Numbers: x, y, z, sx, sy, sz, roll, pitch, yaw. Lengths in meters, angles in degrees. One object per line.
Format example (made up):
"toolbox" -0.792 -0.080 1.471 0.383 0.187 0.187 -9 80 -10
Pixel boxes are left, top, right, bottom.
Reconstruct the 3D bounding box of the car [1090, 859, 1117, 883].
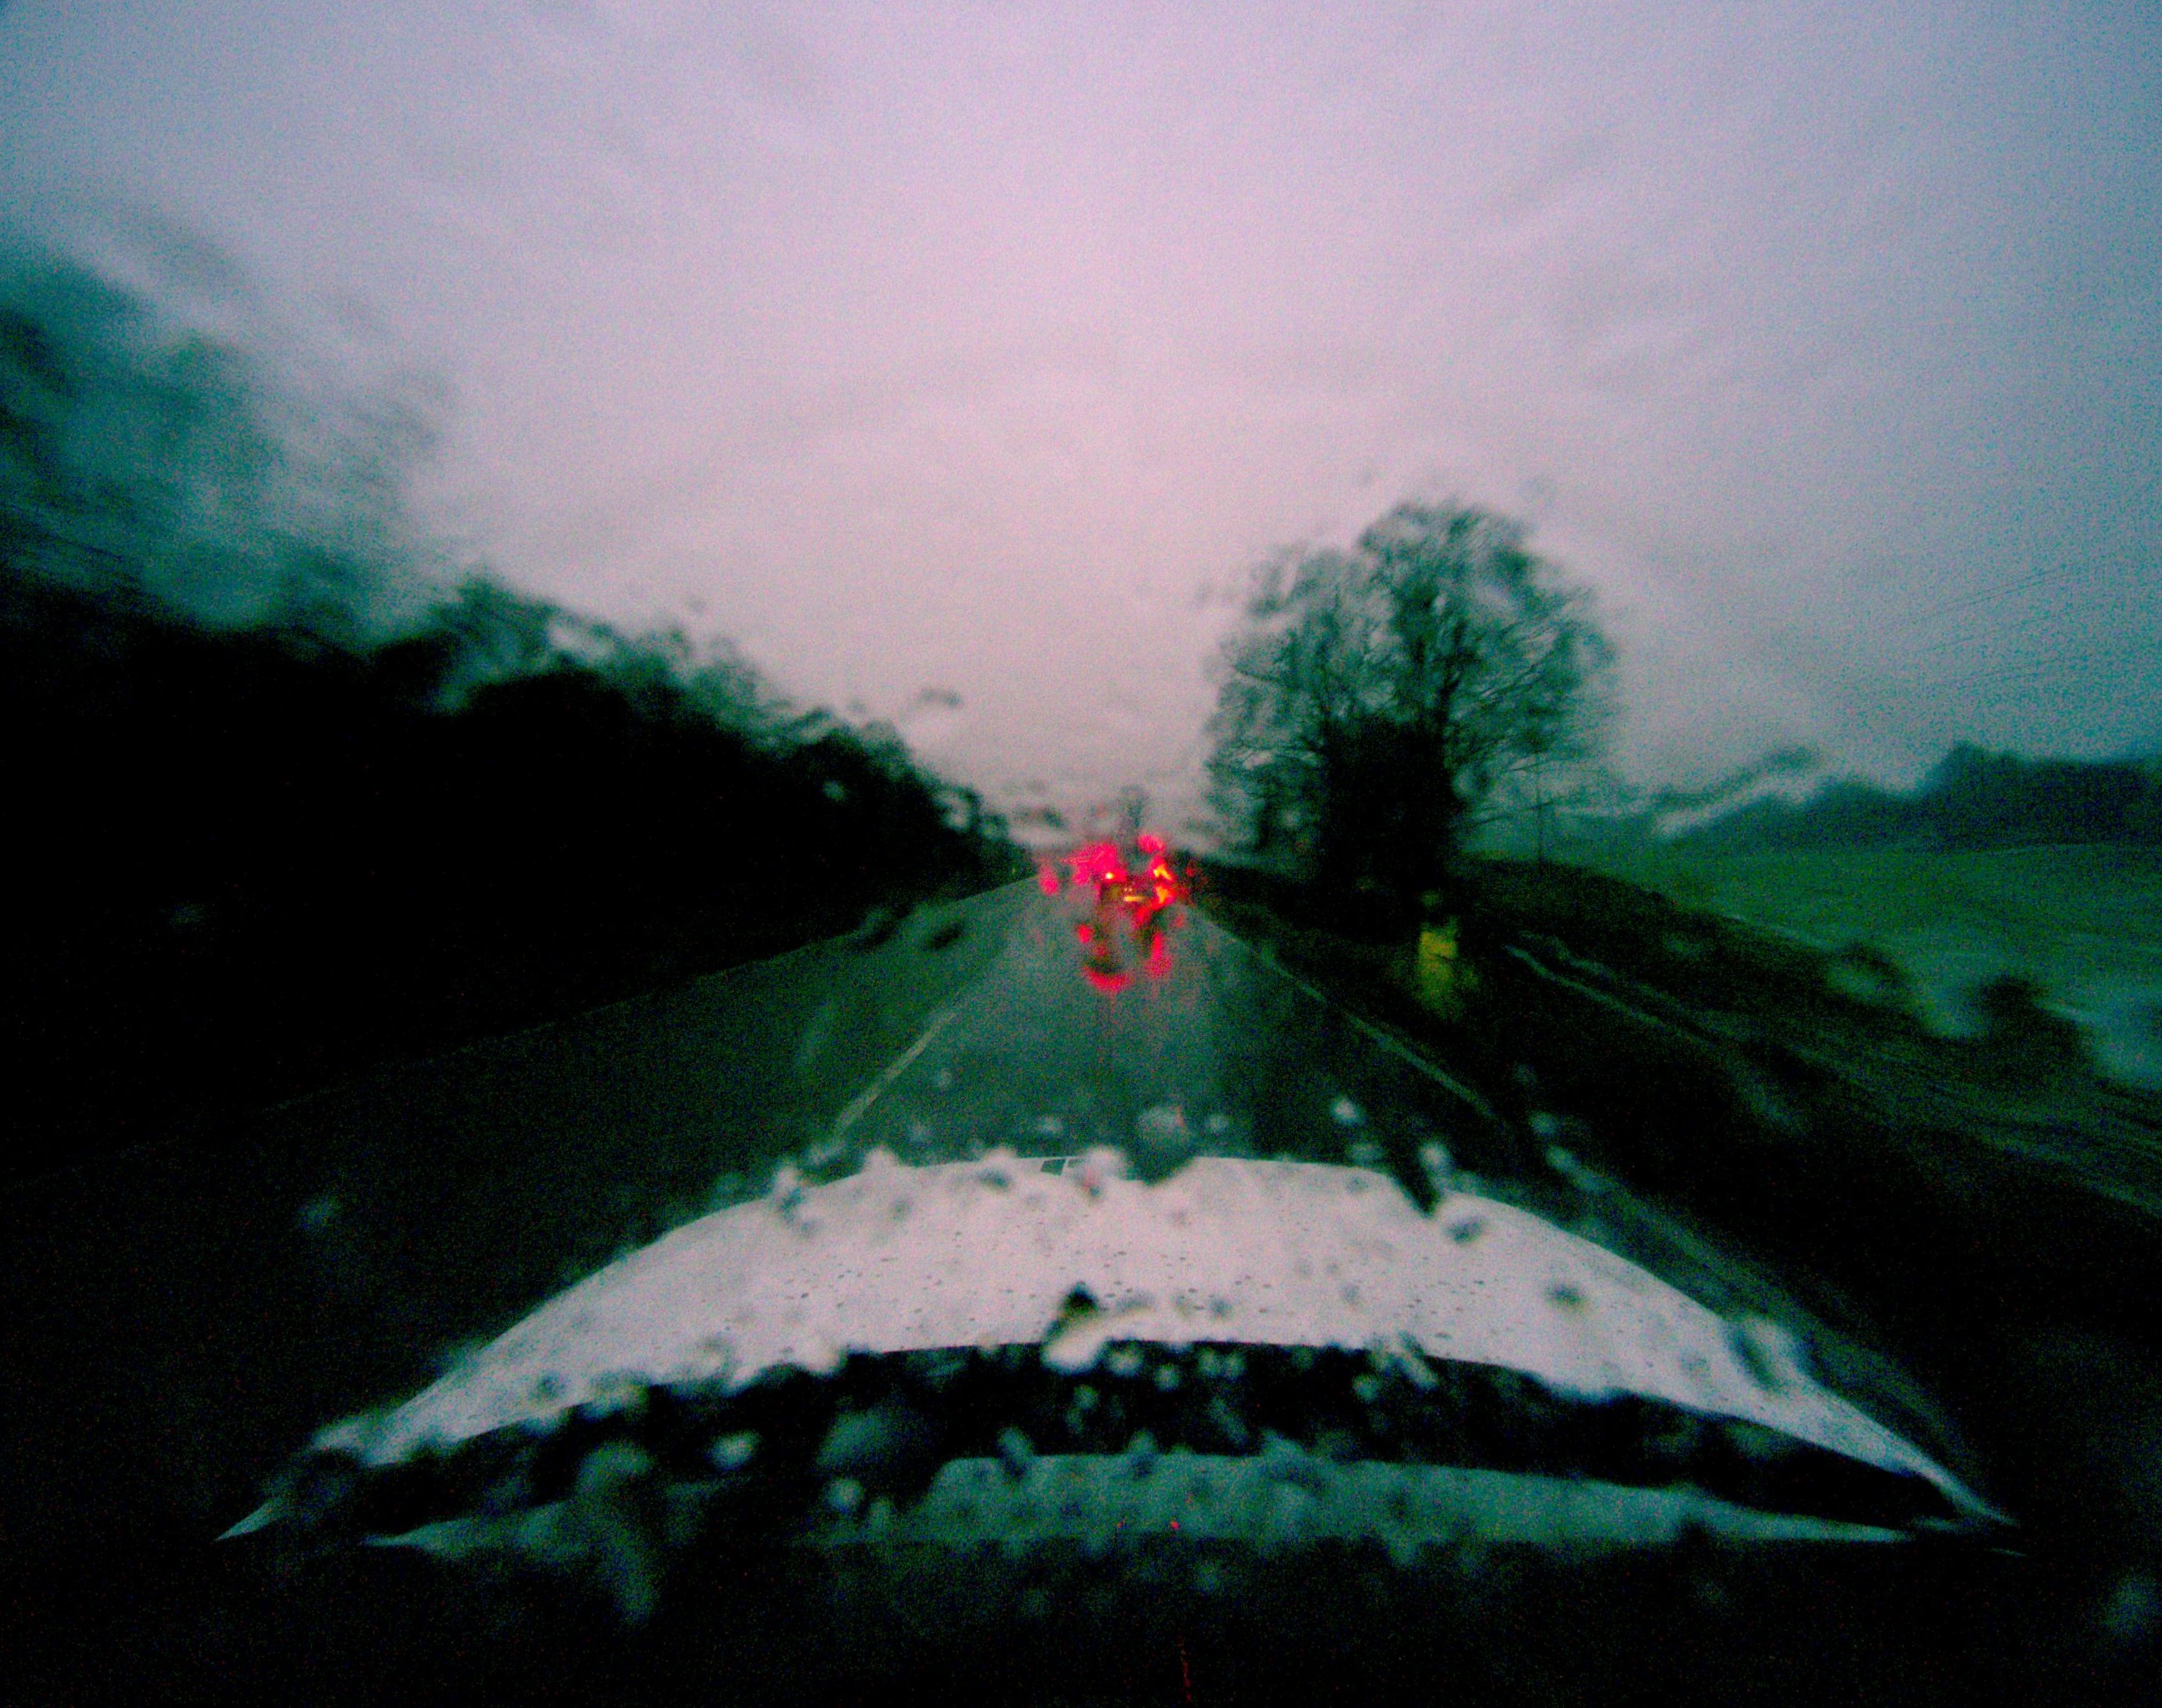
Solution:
"car" 1.400 1.028 50.118 1.540 1.397 3.873 -1 0 3

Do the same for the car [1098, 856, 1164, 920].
"car" 1.305 0.837 21.752 1.596 1.522 3.872 -1 0 3

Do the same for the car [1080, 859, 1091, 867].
"car" 0.778 1.505 138.628 1.540 1.397 3.873 -1 0 4
